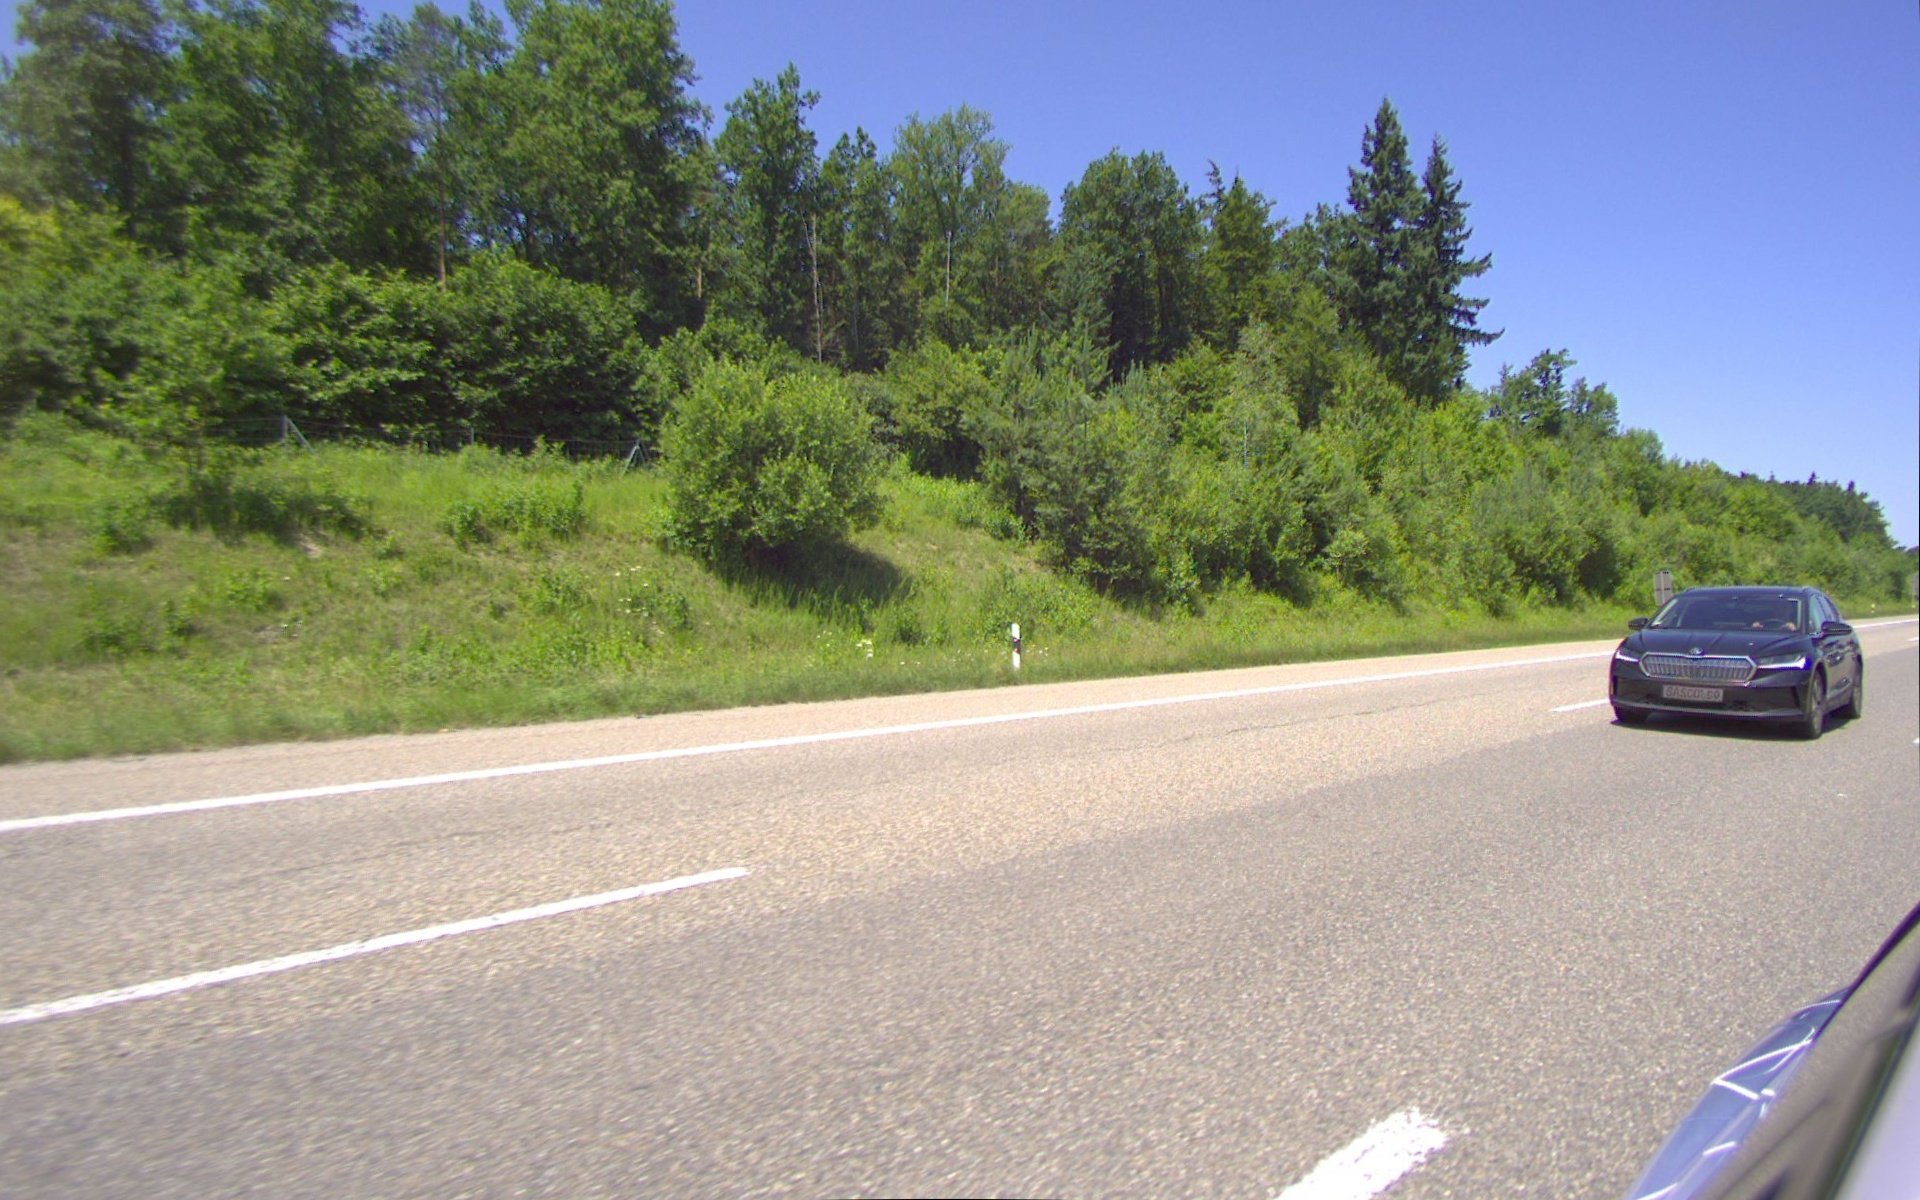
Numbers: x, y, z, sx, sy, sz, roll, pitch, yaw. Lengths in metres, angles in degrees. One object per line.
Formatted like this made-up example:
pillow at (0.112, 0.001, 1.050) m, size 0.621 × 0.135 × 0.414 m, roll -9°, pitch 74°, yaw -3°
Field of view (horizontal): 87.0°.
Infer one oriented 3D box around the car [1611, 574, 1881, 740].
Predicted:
car at (9.606, 0.511, 12.227) m, size 4.384 × 1.639 × 1.986 m, roll -1°, pitch 1°, yaw -44°
